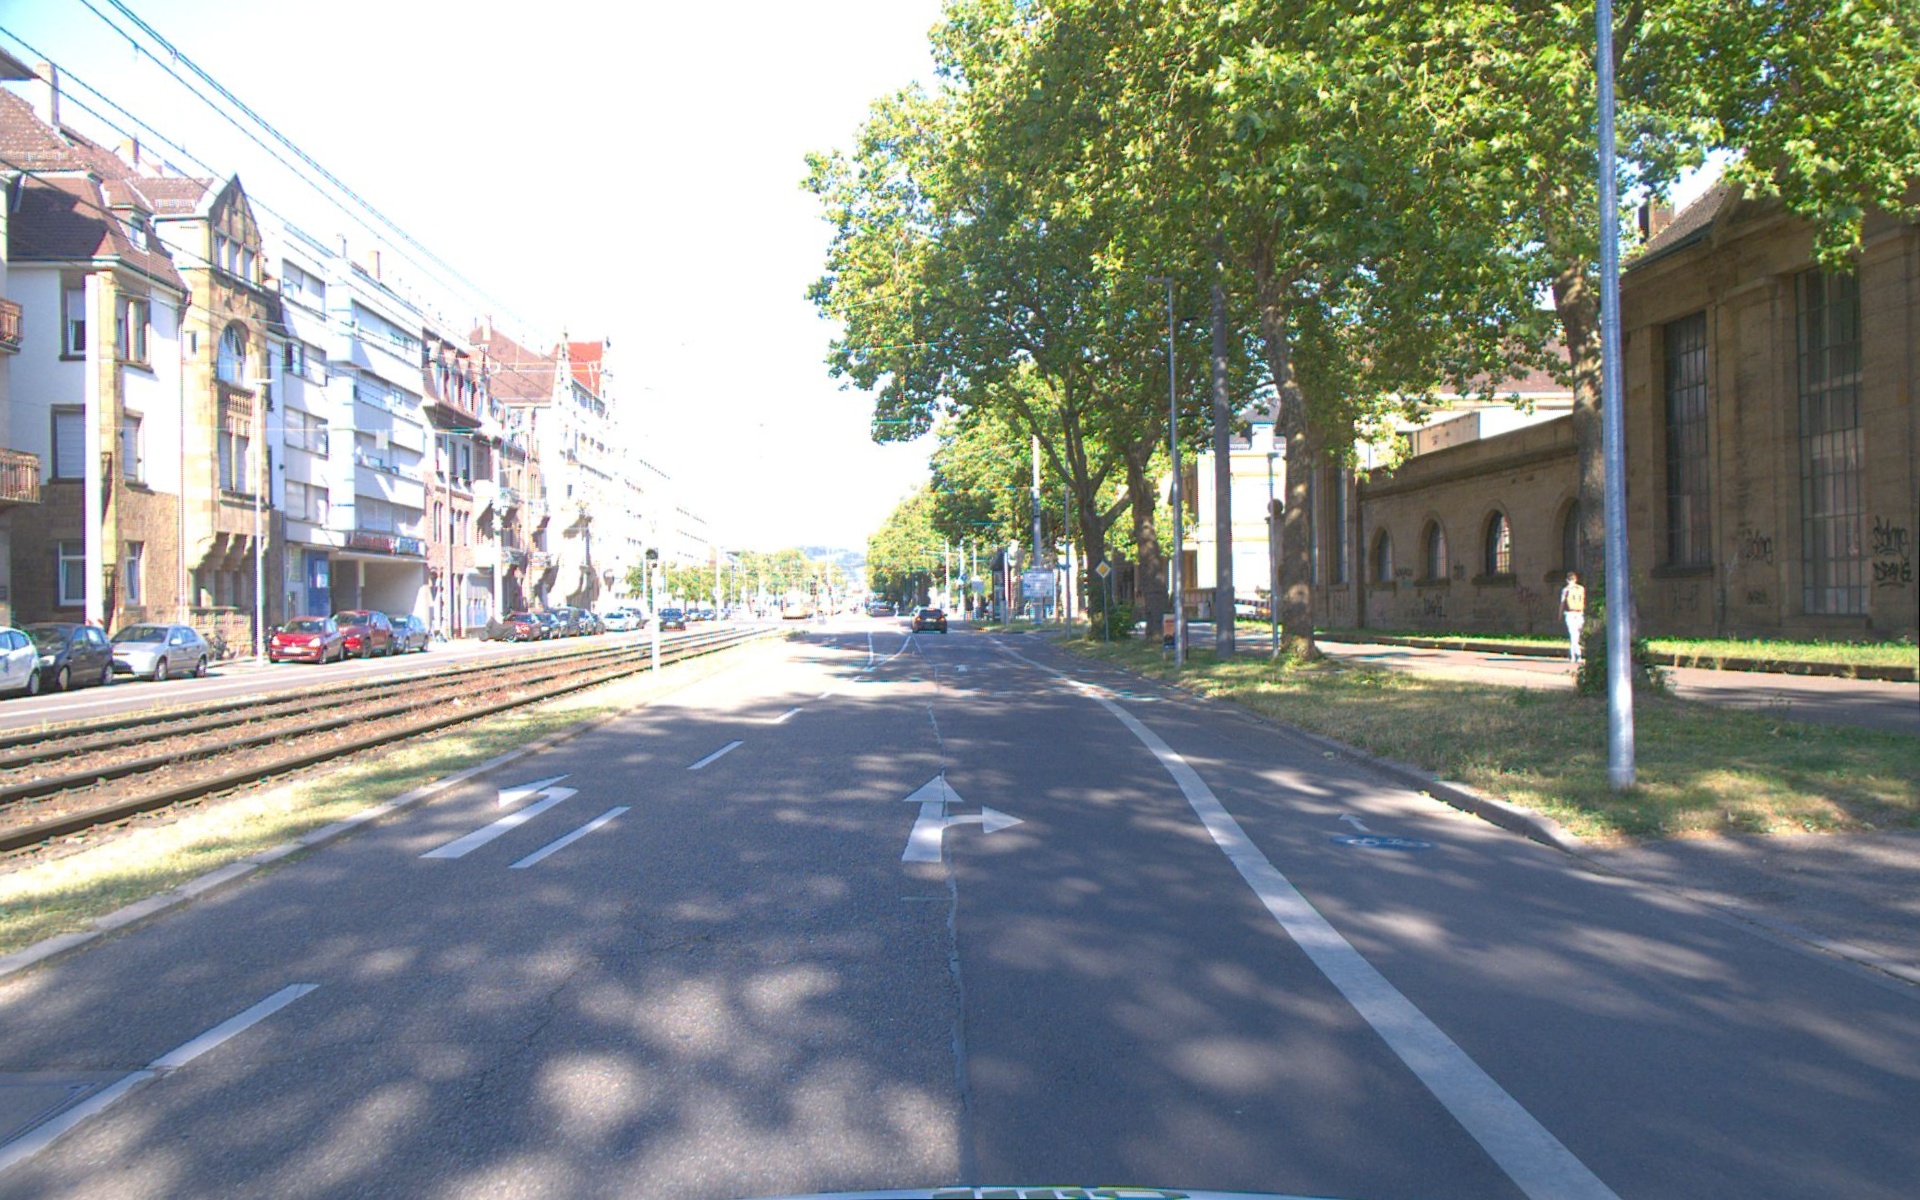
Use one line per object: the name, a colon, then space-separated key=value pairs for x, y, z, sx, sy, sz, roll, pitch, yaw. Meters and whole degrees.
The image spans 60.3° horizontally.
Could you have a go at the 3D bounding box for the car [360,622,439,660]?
car: x=-22.167 y=1.596 z=65.589 sx=1.797 sy=1.415 sz=4.678 roll=-1 pitch=-1 yaw=-4

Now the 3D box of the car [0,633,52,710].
car: x=-20.002 y=1.442 z=33.486 sx=1.605 sy=1.494 sz=3.973 roll=0 pitch=-1 yaw=-10

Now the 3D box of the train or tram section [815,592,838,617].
train or tram section: x=-19.443 y=0.712 z=241.311 sx=2.768 sy=3.511 sz=9.059 roll=-1 pitch=0 yaw=-2

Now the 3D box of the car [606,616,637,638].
car: x=-25.936 y=2.047 z=126.957 sx=1.759 sy=1.537 sz=4.181 roll=2 pitch=-1 yaw=-4

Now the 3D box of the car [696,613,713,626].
car: x=-30.629 y=2.304 z=198.528 sx=1.759 sy=1.537 sz=3.995 roll=-1 pitch=0 yaw=-5

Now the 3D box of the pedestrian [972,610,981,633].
pedestrian: x=1.279 y=1.655 z=128.492 sx=0.575 sy=1.759 sz=0.650 roll=1 pitch=0 yaw=9

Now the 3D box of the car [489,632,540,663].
car: x=-23.653 y=2.495 z=87.868 sx=1.759 sy=1.485 sz=4.263 roll=2 pitch=-1 yaw=-4

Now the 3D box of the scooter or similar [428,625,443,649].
scooter or similar: x=-26.543 y=1.868 z=83.703 sx=0.383 sy=1.227 sz=1.199 roll=2 pitch=-1 yaw=-2

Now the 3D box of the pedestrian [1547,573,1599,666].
pedestrian: x=11.806 y=0.375 z=31.860 sx=0.596 sy=1.710 sz=0.635 roll=-5 pitch=0 yaw=-5

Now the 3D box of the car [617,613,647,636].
car: x=-26.258 y=1.983 z=132.516 sx=1.759 sy=1.749 sz=4.181 roll=2 pitch=-1 yaw=-4

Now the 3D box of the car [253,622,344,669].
car: x=-21.759 y=1.467 z=54.559 sx=1.799 sy=1.415 sz=4.028 roll=2 pitch=-1 yaw=-8

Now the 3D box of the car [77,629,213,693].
car: x=-21.016 y=1.545 z=42.826 sx=1.602 sy=1.494 sz=4.157 roll=0 pitch=0 yaw=-3

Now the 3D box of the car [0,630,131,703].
car: x=-20.664 y=1.479 z=37.728 sx=1.603 sy=1.494 sz=4.156 roll=1 pitch=0 yaw=-4

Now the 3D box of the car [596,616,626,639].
car: x=-25.615 y=2.010 z=121.460 sx=1.760 sy=1.537 sz=3.993 roll=2 pitch=-1 yaw=-7

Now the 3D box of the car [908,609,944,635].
car: x=-1.938 y=1.223 z=92.928 sx=1.797 sy=1.415 sz=4.155 roll=-1 pitch=-1 yaw=-4

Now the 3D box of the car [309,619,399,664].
car: x=-21.959 y=1.485 z=60.120 sx=1.796 sy=1.585 sz=4.351 roll=0 pitch=-1 yaw=-2

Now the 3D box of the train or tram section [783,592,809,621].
train or tram section: x=-20.695 y=0.800 z=209.428 sx=2.769 sy=3.511 sz=9.058 roll=-1 pitch=0 yaw=-3

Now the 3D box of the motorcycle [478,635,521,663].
motorcycle: x=-23.572 y=2.529 z=84.677 sx=2.036 sy=1.350 sz=0.836 roll=2 pitch=-1 yaw=-19

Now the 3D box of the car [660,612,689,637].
car: x=-20.041 y=1.724 z=116.292 sx=1.603 sy=1.629 sz=4.154 roll=-2 pitch=0 yaw=-5

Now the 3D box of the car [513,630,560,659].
car: x=-23.811 y=2.488 z=93.029 sx=1.758 sy=1.537 sz=3.997 roll=2 pitch=-1 yaw=-3

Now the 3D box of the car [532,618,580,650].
car: x=-23.934 y=2.016 z=98.130 sx=1.757 sy=1.784 sz=4.454 roll=2 pitch=-1 yaw=0

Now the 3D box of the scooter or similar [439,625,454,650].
scooter or similar: x=-25.988 y=1.890 z=83.663 sx=0.383 sy=1.227 sz=1.199 roll=2 pitch=-1 yaw=-2

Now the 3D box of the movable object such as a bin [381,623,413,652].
movable object such as a bin: x=-27.914 y=1.850 z=82.003 sx=1.385 sy=1.395 sz=0.634 roll=0 pitch=-1 yaw=-10
